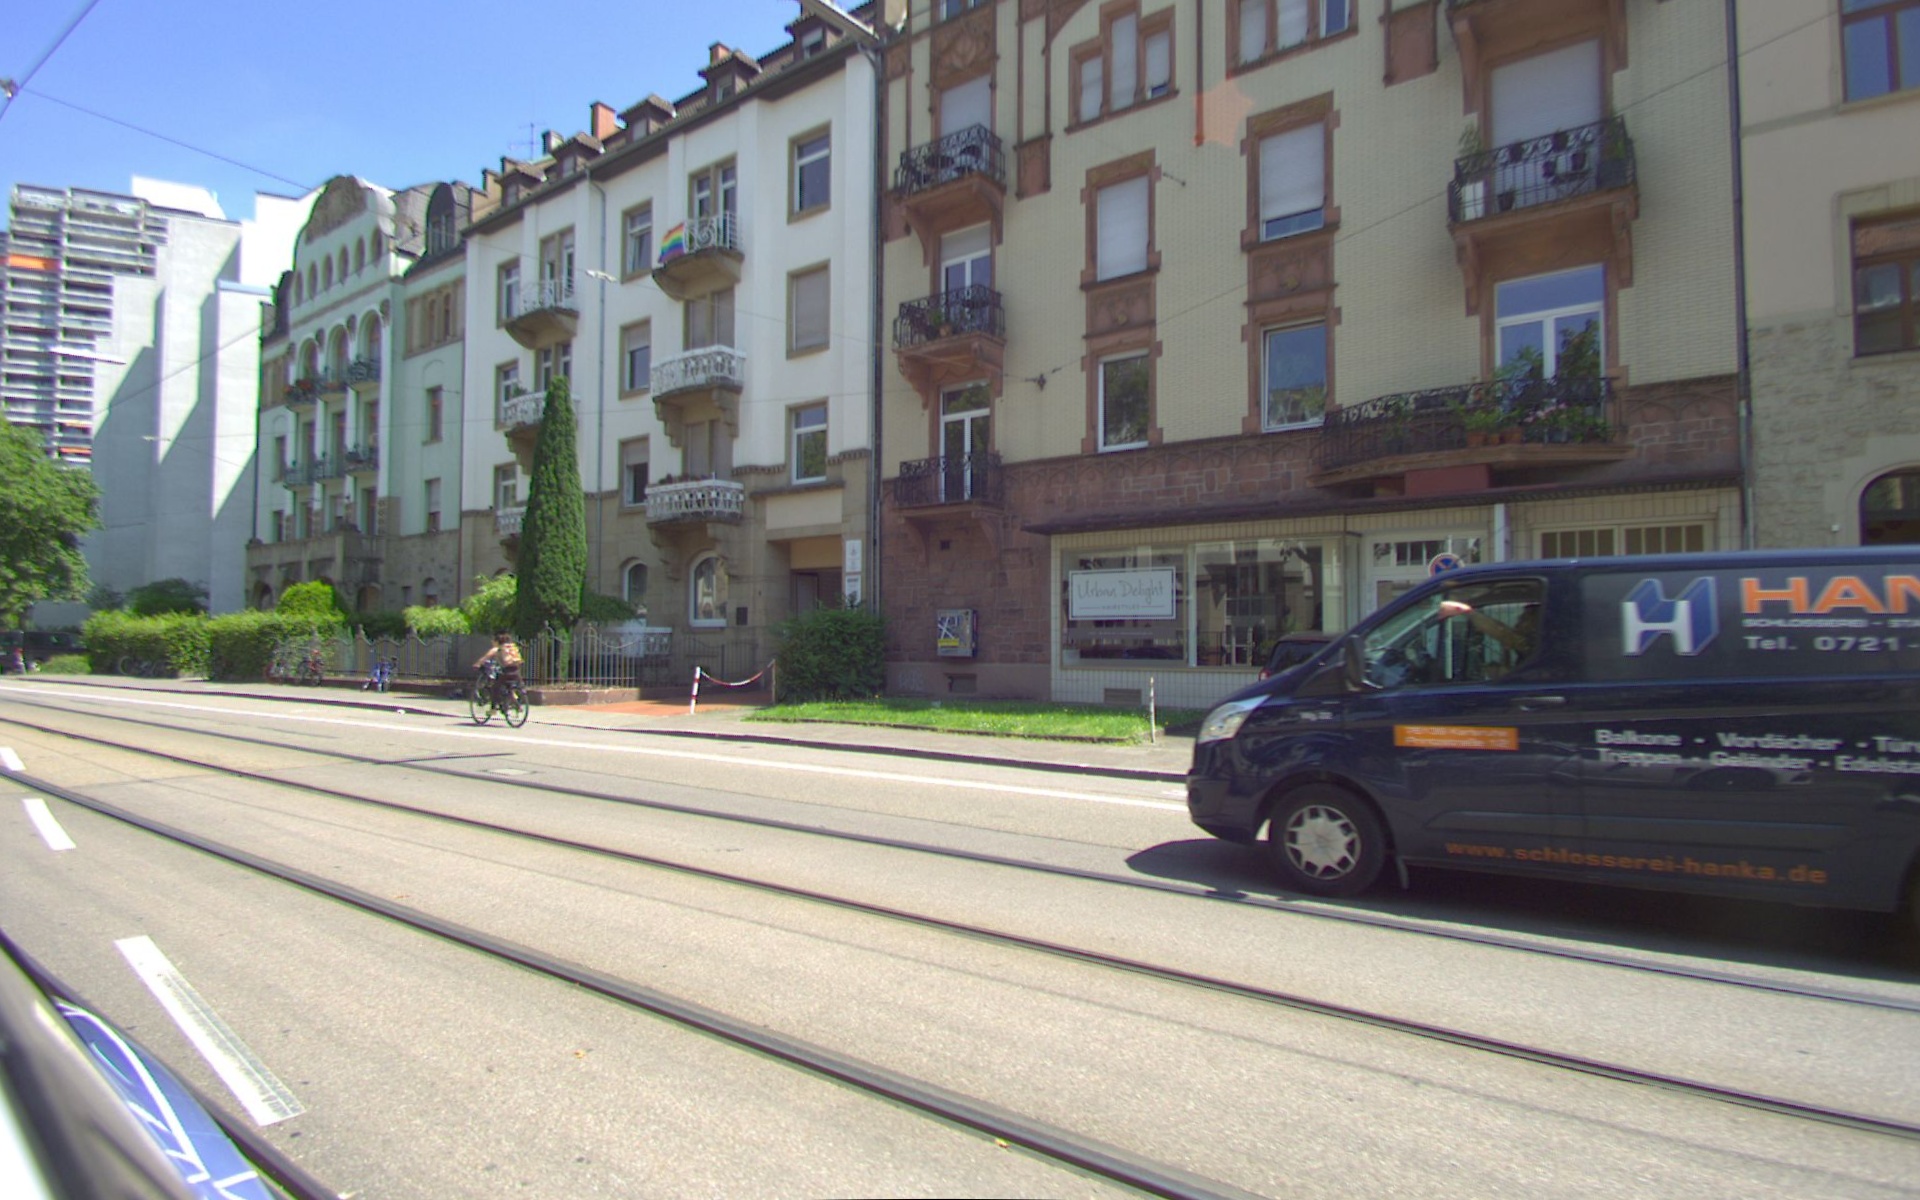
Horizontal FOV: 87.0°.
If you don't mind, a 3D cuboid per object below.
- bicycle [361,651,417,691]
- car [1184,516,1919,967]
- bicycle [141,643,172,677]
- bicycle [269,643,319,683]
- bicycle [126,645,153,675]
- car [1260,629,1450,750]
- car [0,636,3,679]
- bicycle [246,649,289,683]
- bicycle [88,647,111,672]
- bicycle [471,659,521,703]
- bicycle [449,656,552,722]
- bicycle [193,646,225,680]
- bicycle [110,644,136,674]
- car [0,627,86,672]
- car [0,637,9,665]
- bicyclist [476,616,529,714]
[{"bbox_3d":[-14.360,1.775,25.426,1.950,0.956,0.457,-2,-3,36],"label":"bicycle"},{"bbox_3d":[3.876,0.671,5.660,4.806,1.952,1.830,-1,-4,32],"label":"car"},{"bbox_3d":[-28.976,2.154,36.489,1.929,1.173,0.336,-1,-2,36],"label":"bicycle"},{"bbox_3d":[-19.039,1.794,28.922,2.043,1.105,0.488,-2,-3,36],"label":"bicycle"},{"bbox_3d":[-30.527,2.219,37.654,1.725,1.077,0.336,-1,-2,36],"label":"bicycle"},{"bbox_3d":[5.717,1.173,14.452,1.528,1.483,3.319,-2,-2,40],"label":"car"},{"bbox_3d":[-29.113,1.708,28.982,3.816,1.423,1.693,-1,-4,35],"label":"car"},{"bbox_3d":[-20.715,1.955,30.246,2.043,0.978,0.396,-2,-3,36],"label":"bicycle"},{"bbox_3d":[-34.755,2.392,40.866,1.725,0.948,0.336,-2,-1,36],"label":"bicycle"},{"bbox_3d":[-10.315,1.779,22.462,1.611,0.924,0.250,-2,-3,36],"label":"bicycle"},{"bbox_3d":[-8.096,1.539,17.798,2.182,1.083,0.638,-2,-4,36],"label":"bicycle"},{"bbox_3d":[-24.929,2.083,33.584,1.896,1.054,0.286,-1,-2,36],"label":"bicycle"},{"bbox_3d":[-32.120,2.257,38.826,1.725,1.077,0.336,-1,-2,36],"label":"bicycle"},{"bbox_3d":[-42.546,2.224,46.295,1.885,1.985,3.911,0,-2,-4],"label":"car"},{"bbox_3d":[-55.231,2.845,56.392,1.613,1.561,3.818,1,-2,-15],"label":"car"},{"bbox_3d":[-8.018,1.129,17.744,0.578,1.676,0.604,-2,-4,36],"label":"bicyclist"}]
